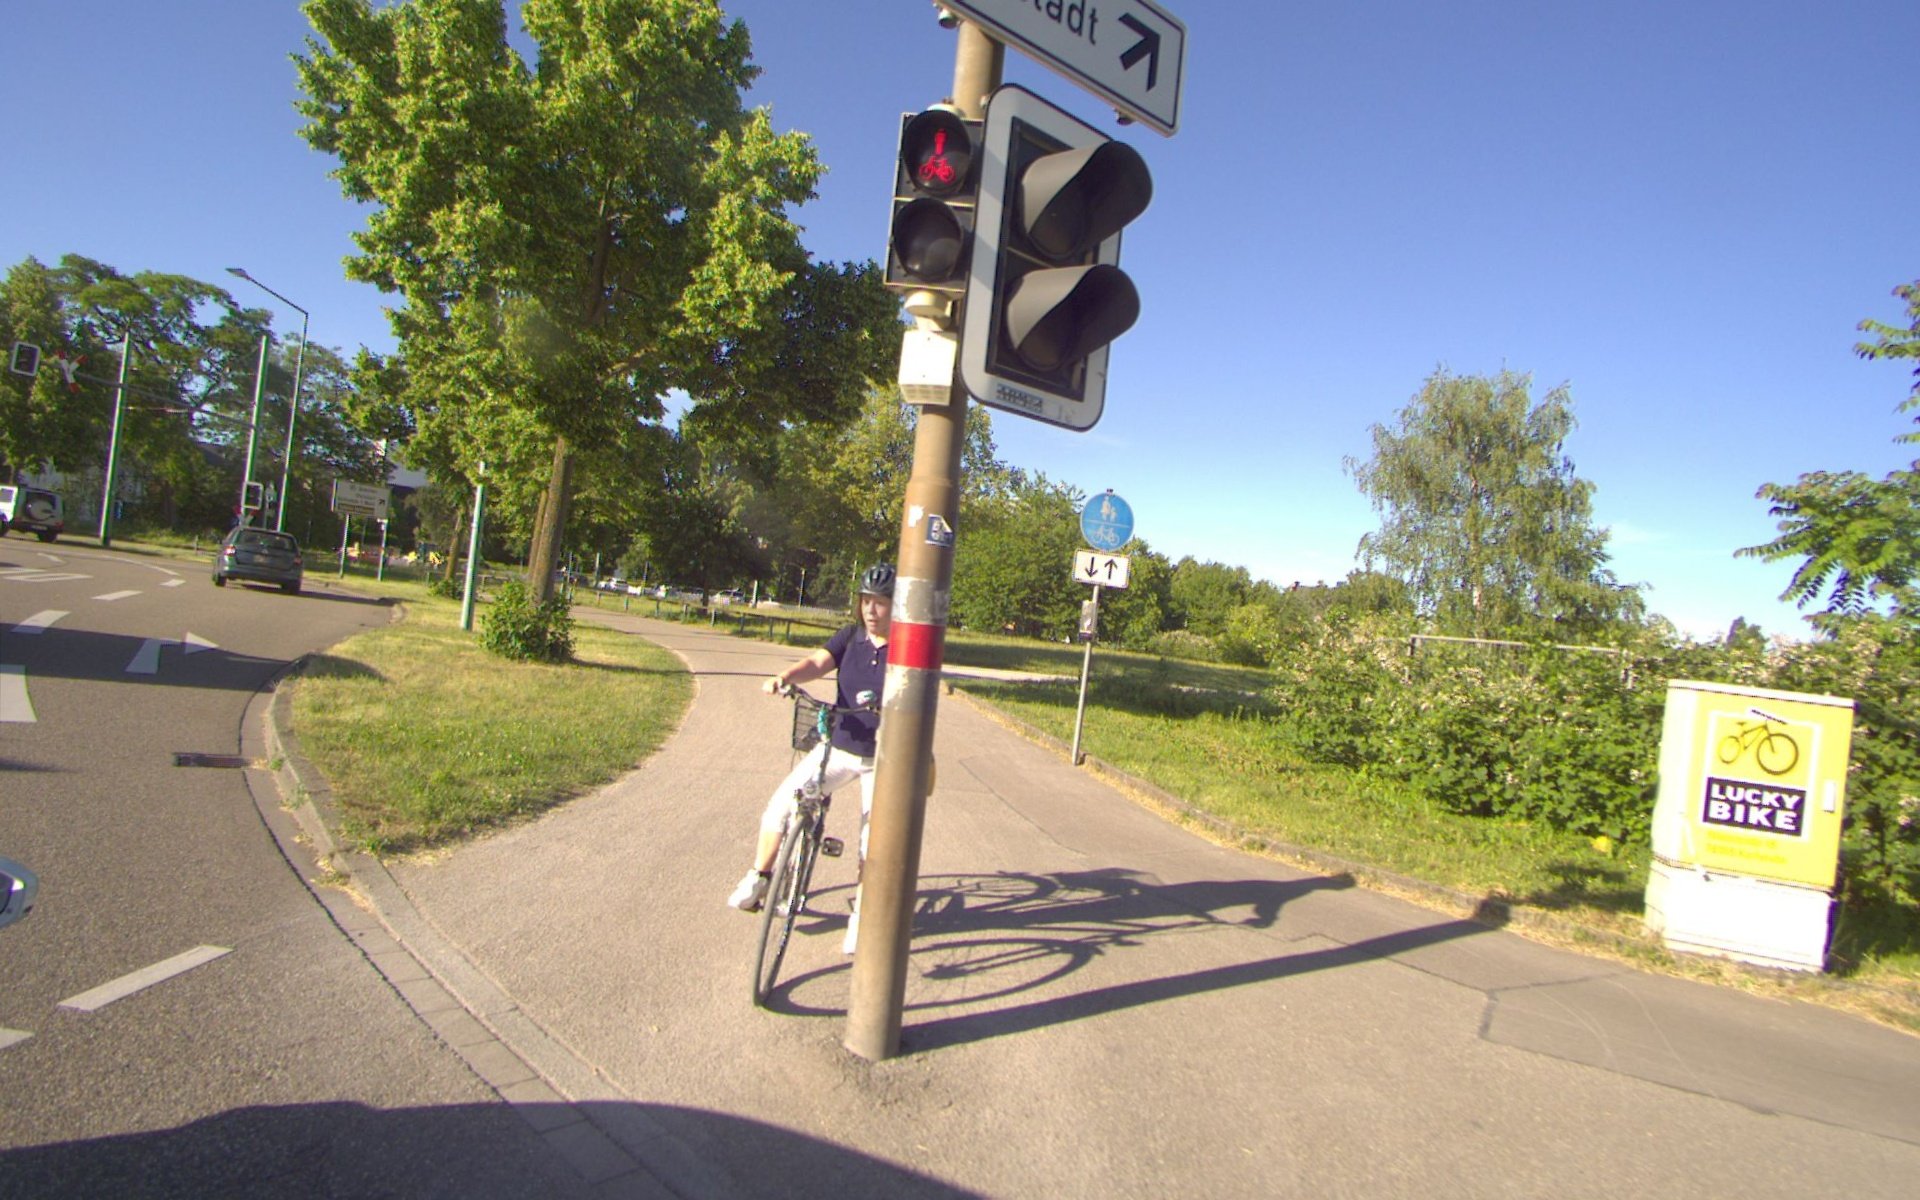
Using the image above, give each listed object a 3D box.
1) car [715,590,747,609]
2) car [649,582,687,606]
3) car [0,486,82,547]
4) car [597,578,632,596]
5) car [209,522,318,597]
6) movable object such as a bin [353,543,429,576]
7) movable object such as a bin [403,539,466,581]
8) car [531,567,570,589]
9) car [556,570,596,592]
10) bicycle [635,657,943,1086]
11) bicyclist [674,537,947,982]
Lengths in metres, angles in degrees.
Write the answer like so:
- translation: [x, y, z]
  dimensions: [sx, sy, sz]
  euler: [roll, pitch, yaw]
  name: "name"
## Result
- translation: [-25.077, -0.065, 109.963]
  dimensions: [1.683, 1.799, 3.805]
  euler: [8, -4, -41]
  name: "car"
- translation: [-30.332, -0.615, 104.396]
  dimensions: [1.989, 2.123, 3.952]
  euler: [9, -4, -44]
  name: "car"
- translation: [-36.051, -3.257, 38.069]
  dimensions: [4.663, 1.919, 2.005]
  euler: [6, -1, 18]
  name: "car"
- translation: [-34.497, -1.310, 100.537]
  dimensions: [1.822, 1.573, 3.763]
  euler: [9, -4, -42]
  name: "car"
- translation: [-17.035, -1.028, 24.524]
  dimensions: [1.707, 1.453, 4.105]
  euler: [8, -1, -40]
  name: "car"
- translation: [-47.666, -3.346, 84.359]
  dimensions: [2.207, 1.969, 5.008]
  euler: [4, -4, 38]
  name: "movable object such as a bin"
- translation: [-40.518, -3.087, 77.583]
  dimensions: [4.970, 2.820, 1.996]
  euler: [4, -3, 35]
  name: "movable object such as a bin"
- translation: [-39.271, -2.105, 96.463]
  dimensions: [1.989, 1.742, 3.952]
  euler: [9, -4, -44]
  name: "car"
- translation: [-37.185, -1.850, 97.394]
  dimensions: [1.989, 1.788, 3.952]
  euler: [9, -4, -44]
  name: "car"
- translation: [-0.637, 0.932, 4.280]
  dimensions: [0.860, 1.169, 2.214]
  euler: [5, 0, -5]
  name: "bicycle"
- translation: [-0.597, 0.599, 4.253]
  dimensions: [0.860, 1.581, 1.086]
  euler: [5, 1, -5]
  name: "bicyclist"
